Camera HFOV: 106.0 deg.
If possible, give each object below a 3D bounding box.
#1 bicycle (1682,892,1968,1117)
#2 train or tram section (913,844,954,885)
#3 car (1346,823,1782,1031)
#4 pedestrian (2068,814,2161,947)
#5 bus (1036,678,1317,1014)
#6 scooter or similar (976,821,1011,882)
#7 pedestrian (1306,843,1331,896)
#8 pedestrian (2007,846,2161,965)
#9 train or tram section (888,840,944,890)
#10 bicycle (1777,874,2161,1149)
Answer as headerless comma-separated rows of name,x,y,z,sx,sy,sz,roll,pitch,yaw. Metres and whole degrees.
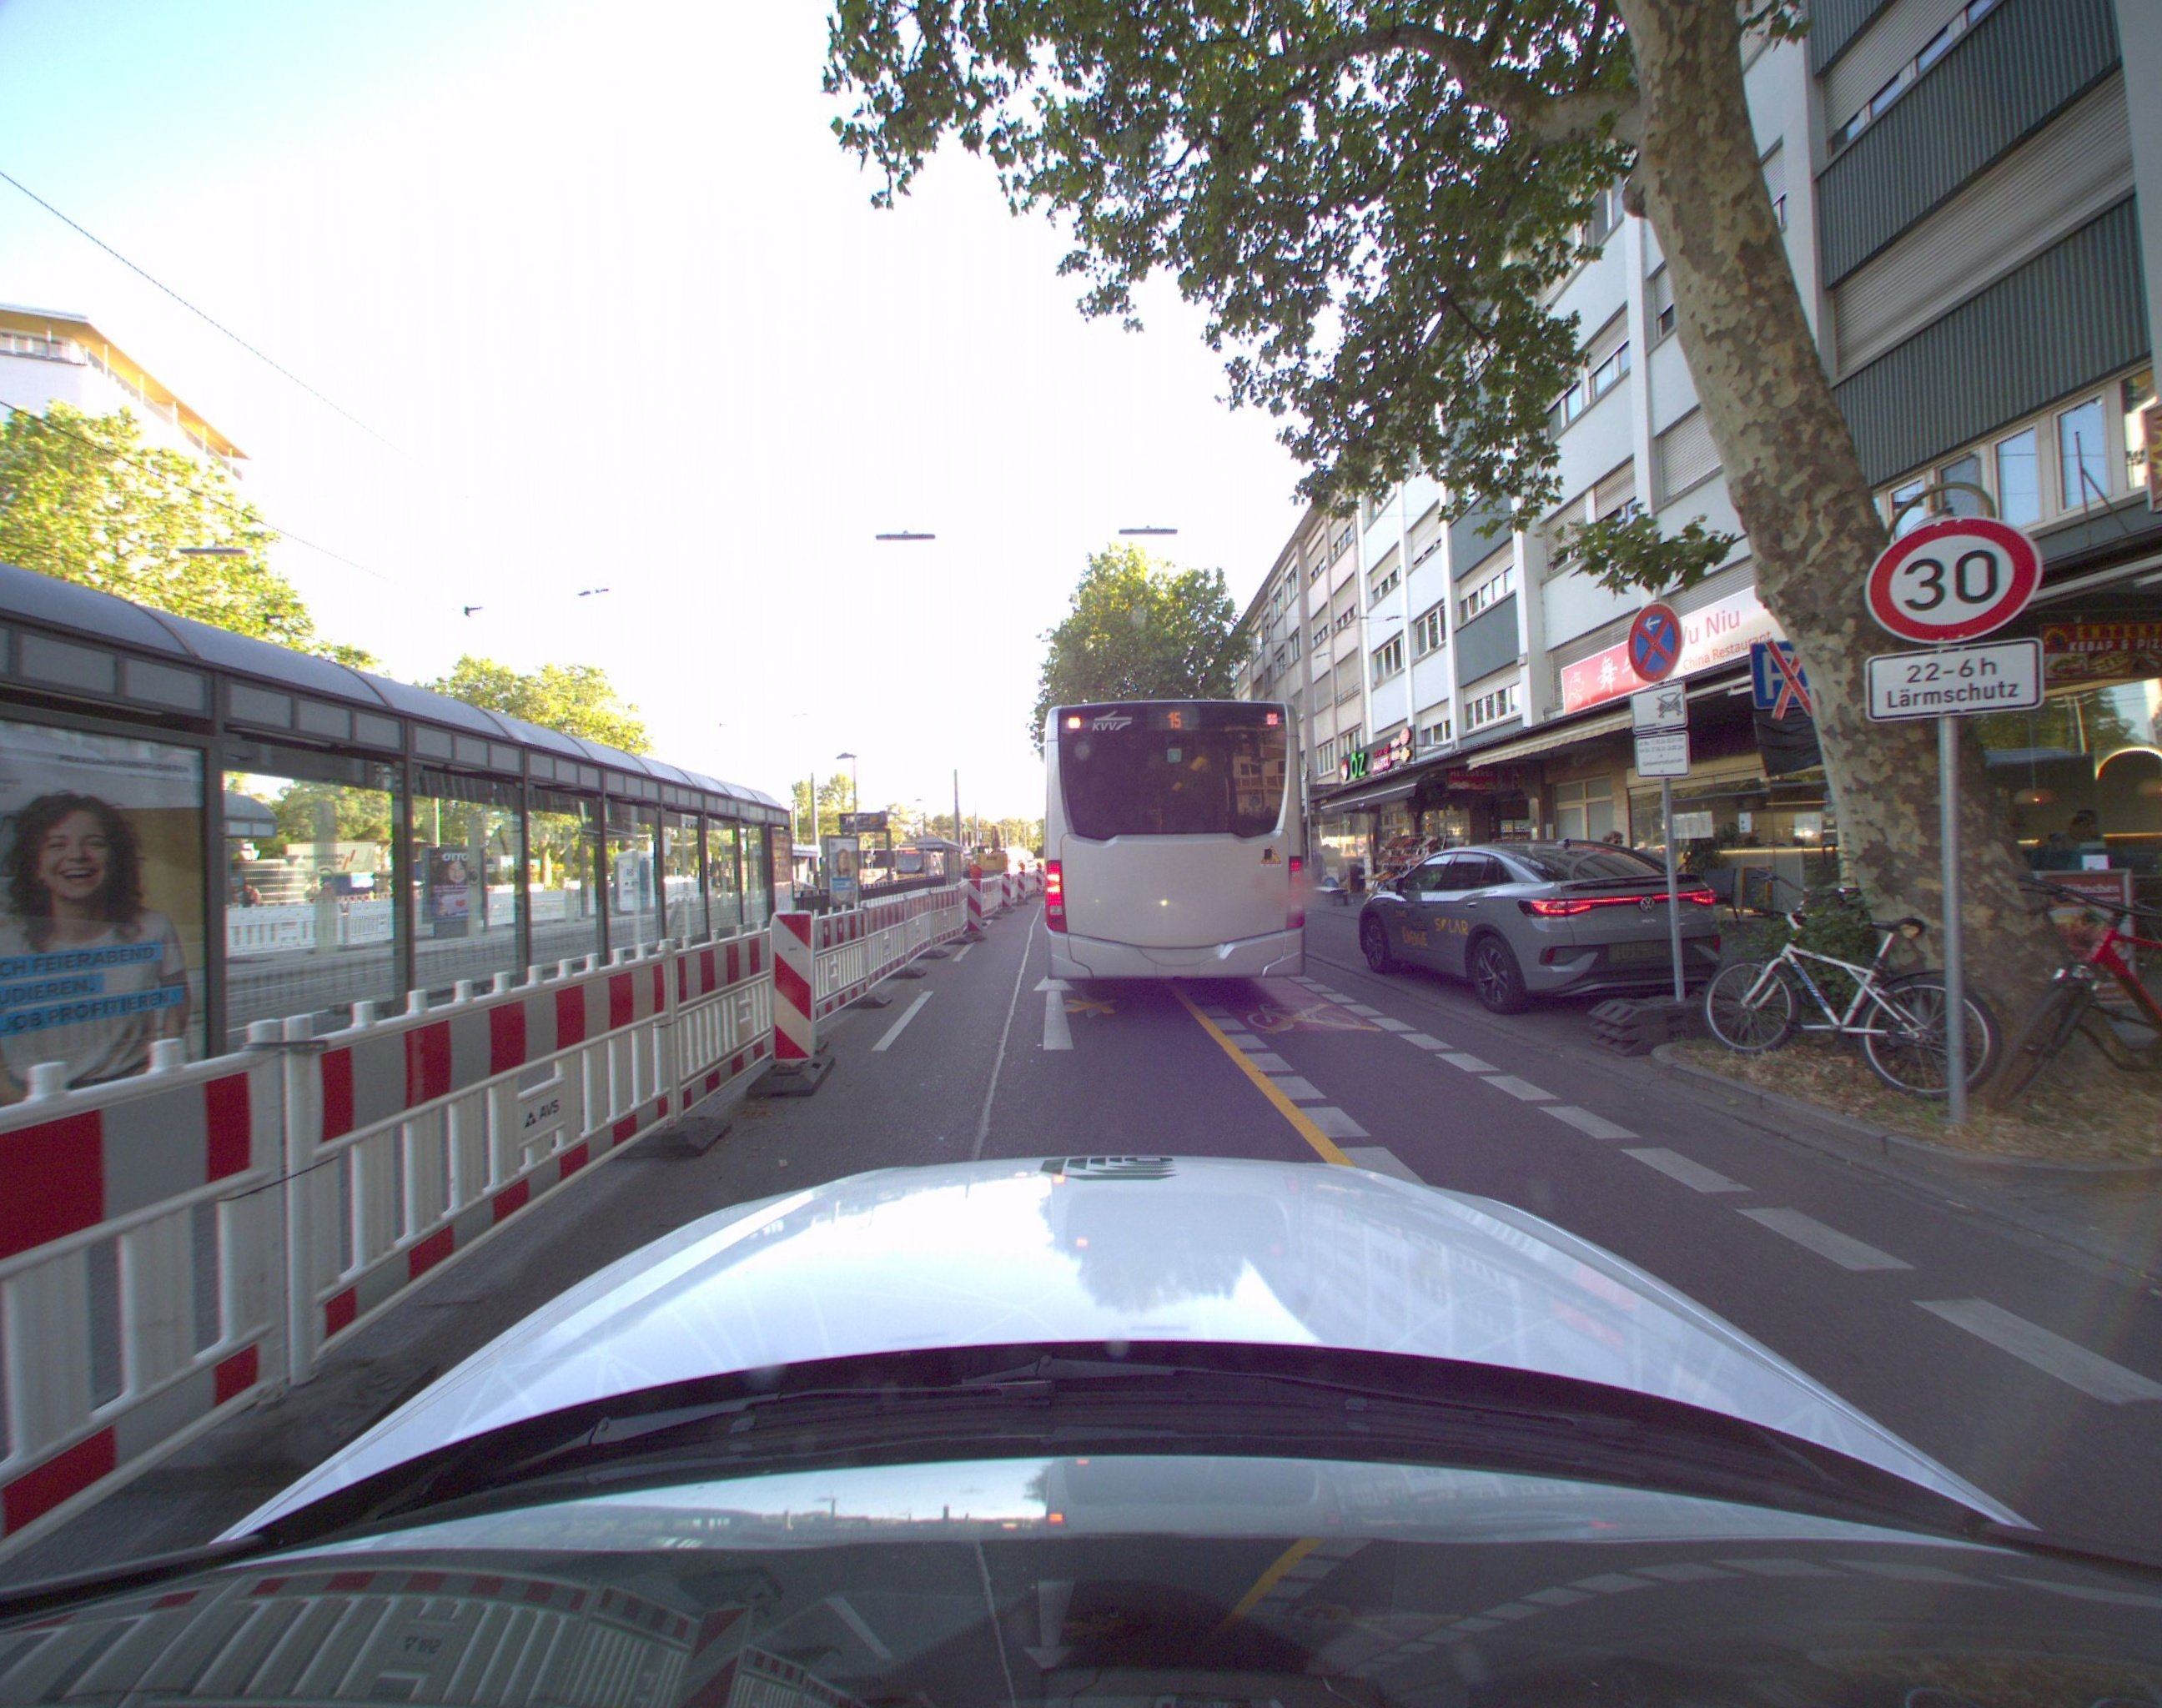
bicycle,4.567,0.854,5.146,0.550,1.155,1.446,-2,-1,6
train or tram section,-13.570,0.967,75.611,2.682,3.558,11.559,0,-1,-5
car,4.746,0.608,8.953,1.989,1.582,4.364,-4,0,-3
pedestrian,11.084,0.258,8.487,0.836,1.334,0.963,-1,-1,-39
bus,1.032,-0.029,11.593,2.601,3.126,7.996,0,-1,2
scooter or similar,-6.847,-0.173,64.004,2.465,4.471,5.961,-2,-1,-5
pedestrian,7.759,0.502,26.563,0.658,1.667,0.603,-4,-1,18
pedestrian,9.862,0.482,7.999,0.643,1.081,0.945,-1,-1,-39
train or tram section,-12.750,0.861,63.969,2.680,3.534,11.756,0,-1,-3
bicycle,5.047,0.735,4.004,2.370,1.155,0.557,-7,-2,14
